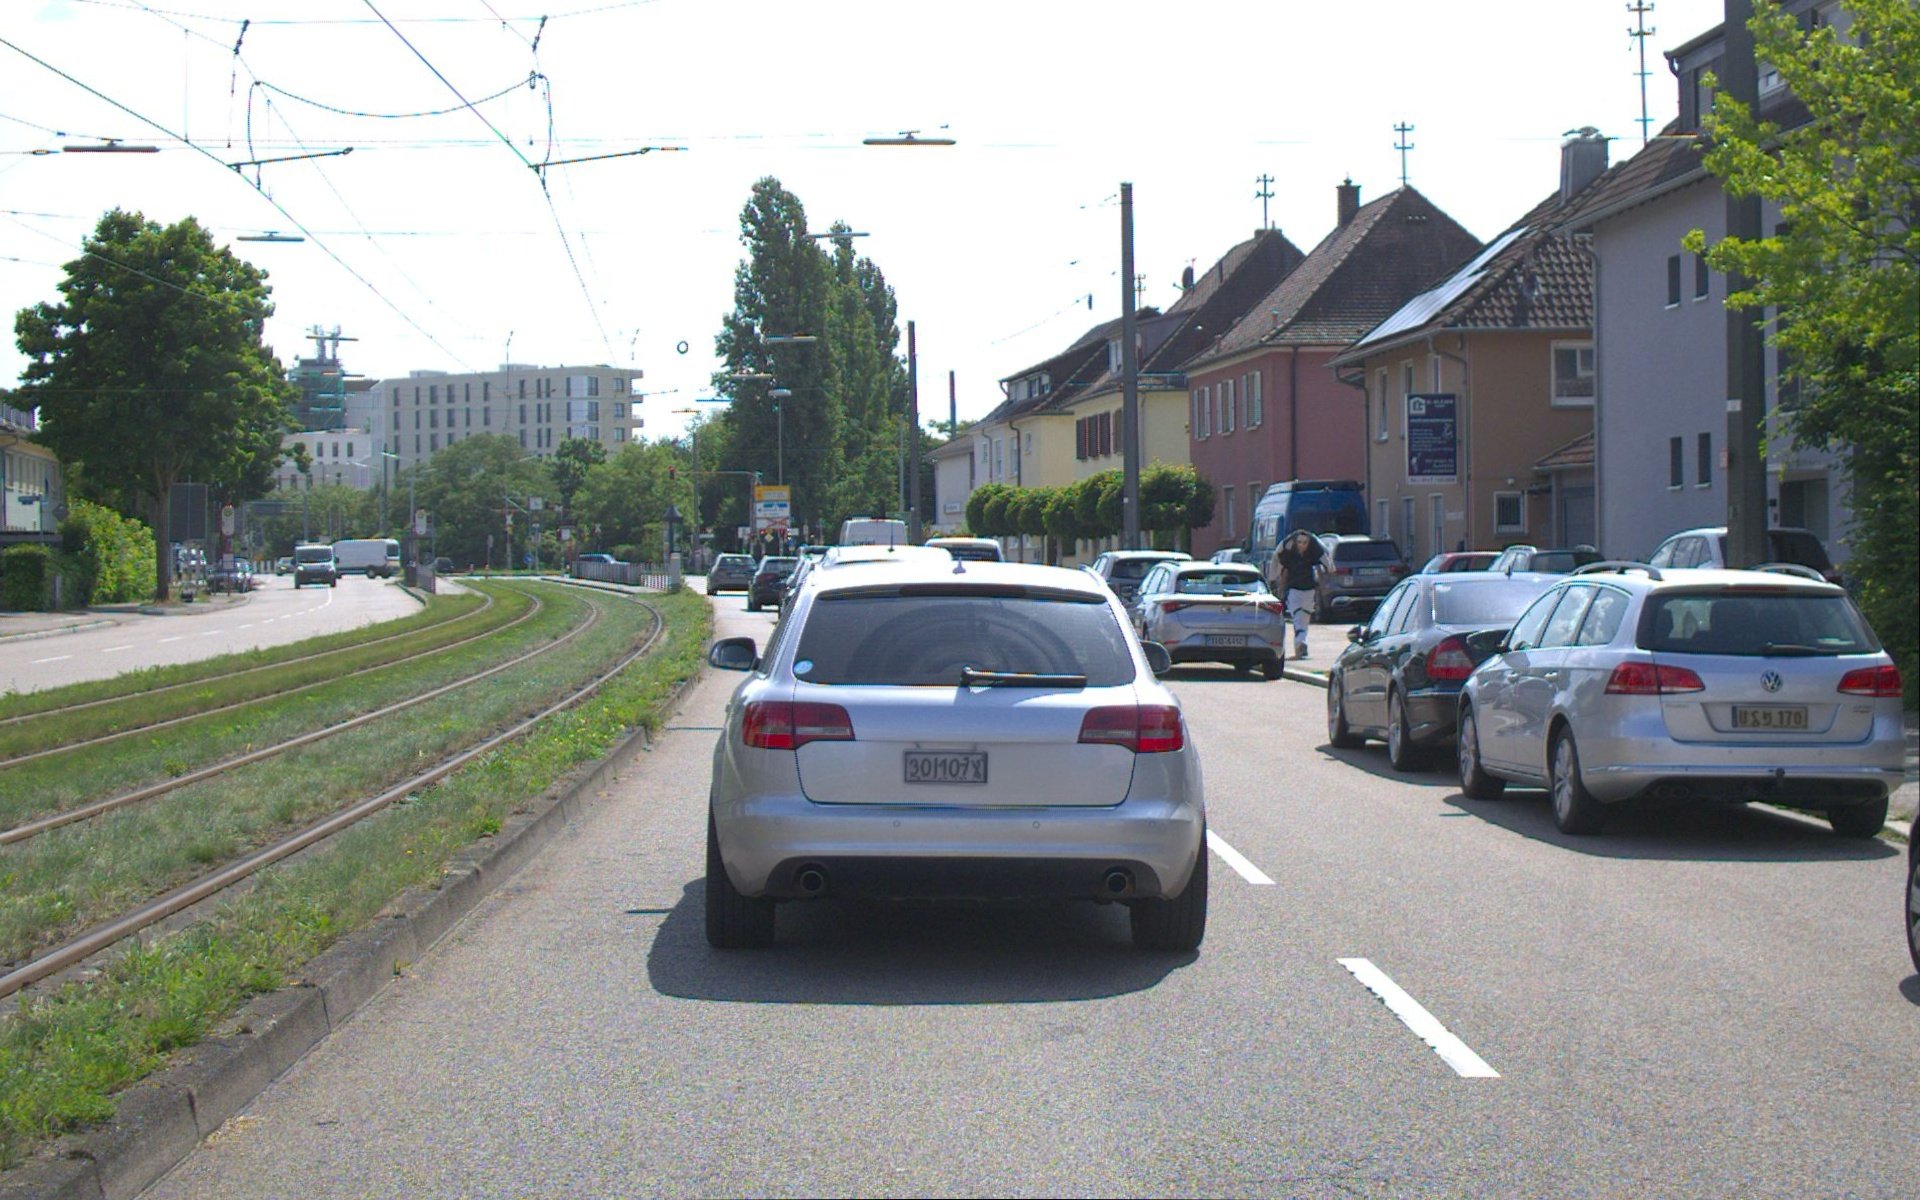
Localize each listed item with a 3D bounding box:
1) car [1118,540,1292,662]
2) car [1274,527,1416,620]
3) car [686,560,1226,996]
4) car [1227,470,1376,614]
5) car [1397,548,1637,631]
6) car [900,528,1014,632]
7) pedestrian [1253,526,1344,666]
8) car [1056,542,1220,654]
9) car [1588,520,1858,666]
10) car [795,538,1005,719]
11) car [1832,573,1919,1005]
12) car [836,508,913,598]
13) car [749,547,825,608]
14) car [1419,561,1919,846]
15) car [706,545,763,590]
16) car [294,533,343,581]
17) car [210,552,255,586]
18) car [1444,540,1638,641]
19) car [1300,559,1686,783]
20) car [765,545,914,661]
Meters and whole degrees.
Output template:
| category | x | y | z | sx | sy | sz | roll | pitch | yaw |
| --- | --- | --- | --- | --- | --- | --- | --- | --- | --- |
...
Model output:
| category | x | y | z | sx | sy | sz | roll | pitch | yaw |
| --- | --- | --- | --- | --- | --- | --- | --- | --- | --- |
| car | 3.089 | 0.001 | 44.222 | 1.814 | 1.449 | 4.643 | 1 | 0 | -1 |
| car | 7.553 | -0.557 | 67.889 | 1.836 | 1.705 | 4.865 | -2 | 1 | -5 |
| car | -0.065 | 0.592 | 14.158 | 1.854 | 1.487 | 4.536 | 1 | 1 | -1 |
| car | 7.301 | -1.214 | 74.129 | 2.151 | 2.920 | 6.245 | 1 | 0 | -4 |
| car | 9.331 | -0.175 | 57.728 | 3.648 | 1.376 | 1.727 | 0 | 0 | -6 |
| car | -0.043 | -0.364 | 59.447 | 1.885 | 1.725 | 4.094 | -1 | 1 | 0 |
| pedestrian | 4.759 | -0.059 | 48.349 | 1.112 | 1.939 | 1.092 | 0 | 0 | -3 |
| car | 2.596 | -0.040 | 50.976 | 1.807 | 1.554 | 4.254 | 1 | 0 | -5 |
| car | 9.218 | -0.100 | 41.941 | 1.756 | 1.641 | 4.770 | -1 | 0 | -6 |
| car | -0.640 | 0.230 | 33.089 | 1.787 | 1.571 | 4.095 | 2 | 1 | -4 |
| car | 4.181 | 0.669 | 10.956 | 1.737 | 1.484 | 4.094 | 1 | 0 | 0 |
| car | -2.507 | -1.357 | 100.024 | 2.040 | 2.549 | 5.232 | 0 | 1 | -4 |
| car | -4.468 | -0.578 | 88.788 | 1.885 | 1.525 | 4.095 | 1 | 0 | -3 |
| car | 4.114 | 0.527 | 20.293 | 1.890 | 1.450 | 5.007 | 1 | 0 | -3 |
| car | -7.909 | -1.137 | 120.853 | 1.885 | 1.525 | 4.095 | 1 | 0 | -3 |
| car | -33.202 | -2.204 | 178.092 | 2.196 | 2.364 | 5.334 | -2 | 1 | -8 |
| car | -34.603 | -1.490 | 163.527 | 1.786 | 1.578 | 3.931 | 0 | 1 | -7 |
| car | 8.704 | -0.171 | 51.893 | 1.798 | 1.419 | 4.858 | -1 | 1 | -4 |
| car | 3.851 | 0.450 | 25.725 | 1.899 | 1.439 | 5.058 | 1 | 1 | -2 |
| car | -1.622 | 0.005 | 45.793 | 1.885 | 1.461 | 4.095 | -1 | 1 | -2 |
